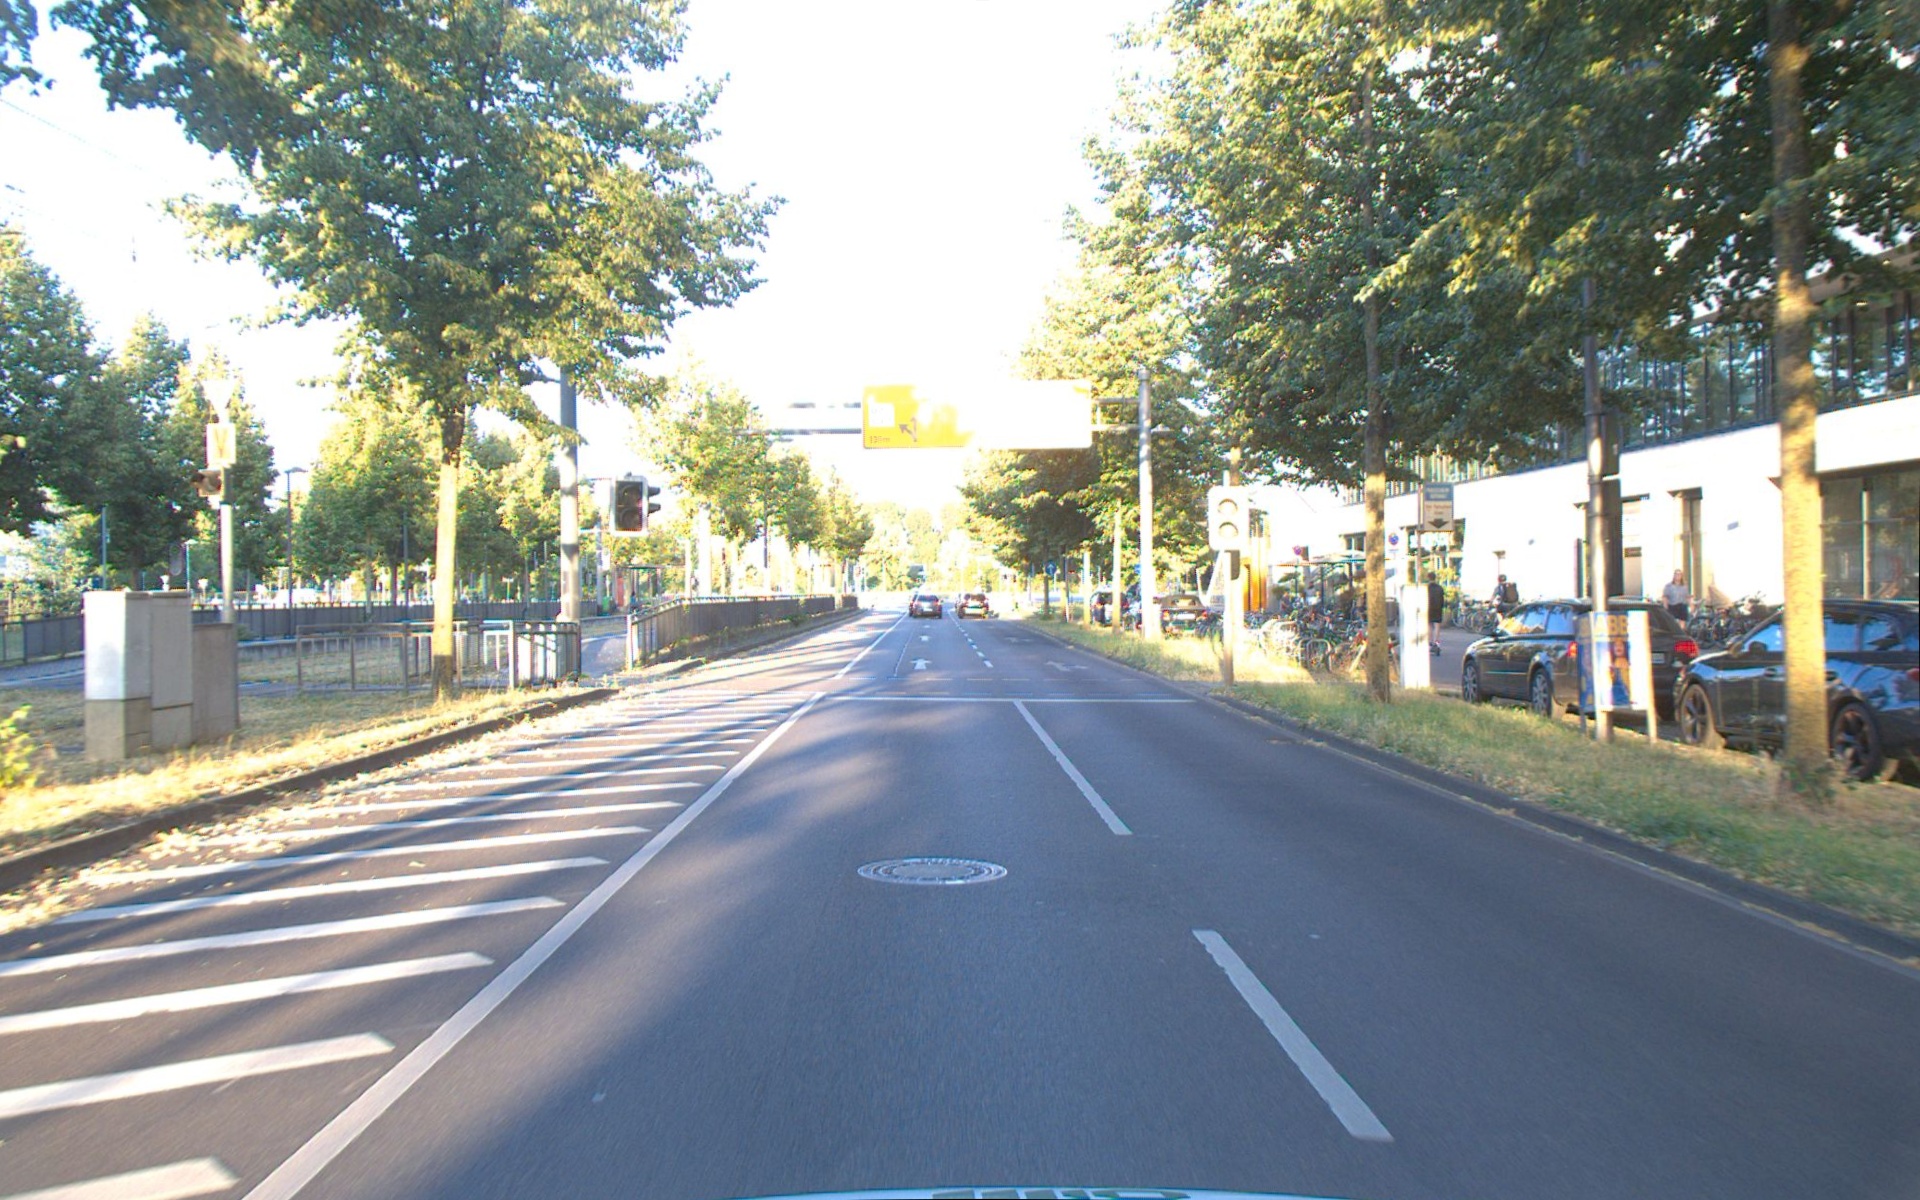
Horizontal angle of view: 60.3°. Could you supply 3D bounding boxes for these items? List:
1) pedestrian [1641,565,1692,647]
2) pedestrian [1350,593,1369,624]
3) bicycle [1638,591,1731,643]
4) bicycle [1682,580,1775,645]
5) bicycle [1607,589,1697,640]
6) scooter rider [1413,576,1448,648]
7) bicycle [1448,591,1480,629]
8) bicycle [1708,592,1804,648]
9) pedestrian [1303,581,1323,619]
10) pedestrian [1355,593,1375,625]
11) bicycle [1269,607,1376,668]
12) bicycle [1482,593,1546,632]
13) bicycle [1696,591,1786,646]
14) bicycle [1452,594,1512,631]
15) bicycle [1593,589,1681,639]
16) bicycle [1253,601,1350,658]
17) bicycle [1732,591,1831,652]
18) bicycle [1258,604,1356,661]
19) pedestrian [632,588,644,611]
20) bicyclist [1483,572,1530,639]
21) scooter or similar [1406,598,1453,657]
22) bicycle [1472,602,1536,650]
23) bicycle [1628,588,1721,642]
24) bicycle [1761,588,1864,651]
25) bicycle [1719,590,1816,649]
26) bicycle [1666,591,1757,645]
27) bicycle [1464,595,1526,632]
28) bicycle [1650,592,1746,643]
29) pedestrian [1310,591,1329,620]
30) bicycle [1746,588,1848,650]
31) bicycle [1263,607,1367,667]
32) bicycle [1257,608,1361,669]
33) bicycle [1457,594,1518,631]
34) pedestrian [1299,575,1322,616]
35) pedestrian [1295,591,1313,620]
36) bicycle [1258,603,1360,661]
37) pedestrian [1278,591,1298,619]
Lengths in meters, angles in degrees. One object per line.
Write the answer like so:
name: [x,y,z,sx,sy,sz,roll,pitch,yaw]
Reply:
pedestrian: [14.815,0.123,34.713,0.630,1.677,0.953,-1,0,-2]
pedestrian: [15.676,0.322,64.900,0.560,1.216,0.806,-1,0,-1]
bicycle: [16.504,0.383,37.689,1.943,1.161,0.503,-1,0,-4]
bicycle: [16.621,0.260,35.783,1.794,1.380,0.503,-1,0,-4]
bicycle: [16.362,0.338,39.103,1.943,1.188,0.503,-1,0,-4]
scooter rider: [10.976,0.271,38.586,0.515,1.667,0.831,-1,0,-3]
bicycle: [17.022,0.324,55.923,0.460,1.229,2.264,-1,0,3]
bicycle: [16.744,0.418,34.797,1.794,1.132,0.503,-1,0,-4]
pedestrian: [16.330,0.017,76.430,0.625,1.748,0.695,-1,0,-21]
pedestrian: [15.664,0.338,63.957,0.559,1.216,0.806,-1,0,1]
bicycle: [6.880,0.712,31.375,1.910,1.072,0.543,3,0,-16]
bicycle: [16.551,0.362,49.396,1.750,1.123,0.508,-1,0,-6]
bicycle: [16.657,0.393,35.282,1.794,1.144,0.372,-1,0,-4]
bicycle: [16.419,0.385,52.047,1.750,1.123,0.508,-1,0,-6]
bicycle: [16.292,0.338,39.831,1.943,1.161,0.503,-1,0,-4]
bicycle: [7.086,0.615,34.330,1.906,1.072,0.408,3,0,-9]
bicycle: [16.682,0.428,33.597,1.794,1.197,0.503,-1,0,-4]
bicycle: [7.108,0.662,33.875,1.906,1.072,0.408,3,0,-9]
pedestrian: [-18.674,-0.042,95.847,0.602,1.342,0.744,-1,0,-4]
bicyclist: [13.191,0.129,39.949,0.756,1.594,0.991,-1,0,-4]
scooter or similar: [10.975,0.628,38.701,0.515,1.333,1.663,-1,0,-3]
bicycle: [13.179,0.622,40.119,0.756,1.098,2.062,-1,0,-3]
bicycle: [16.535,0.346,38.284,1.943,1.203,0.503,-1,0,-4]
bicycle: [16.750,0.380,32.509,1.793,1.197,0.445,-1,0,-1]
bicycle: [16.685,0.395,34.175,1.794,1.197,0.503,-1,0,-4]
bicycle: [16.504,0.392,36.331,1.794,1.141,0.503,-1,0,-4]
bicycle: [16.399,0.407,50.683,1.750,1.123,0.508,-1,0,-6]
bicycle: [16.516,0.390,37.018,1.943,1.119,0.503,-1,0,-4]
pedestrian: [16.426,0.256,75.599,0.570,1.305,0.735,-1,0,-19]
bicycle: [16.700,0.371,33.016,1.793,1.197,0.445,-1,0,-1]
bicycle: [7.015,0.731,32.695,1.907,1.072,0.543,3,0,-12]
bicycle: [6.744,0.738,31.959,1.910,1.072,0.543,3,0,-16]
bicycle: [16.422,0.394,51.492,1.750,1.123,0.508,-1,0,-6]
pedestrian: [15.259,-0.204,71.992,0.696,1.767,0.682,-1,0,-31]
pedestrian: [15.711,0.246,75.555,0.567,1.305,0.738,-1,0,-5]
bicycle: [7.025,0.644,33.344,1.906,1.072,0.544,3,0,-9]
pedestrian: [15.062,0.230,75.893,0.617,1.305,0.712,-1,0,-23]
